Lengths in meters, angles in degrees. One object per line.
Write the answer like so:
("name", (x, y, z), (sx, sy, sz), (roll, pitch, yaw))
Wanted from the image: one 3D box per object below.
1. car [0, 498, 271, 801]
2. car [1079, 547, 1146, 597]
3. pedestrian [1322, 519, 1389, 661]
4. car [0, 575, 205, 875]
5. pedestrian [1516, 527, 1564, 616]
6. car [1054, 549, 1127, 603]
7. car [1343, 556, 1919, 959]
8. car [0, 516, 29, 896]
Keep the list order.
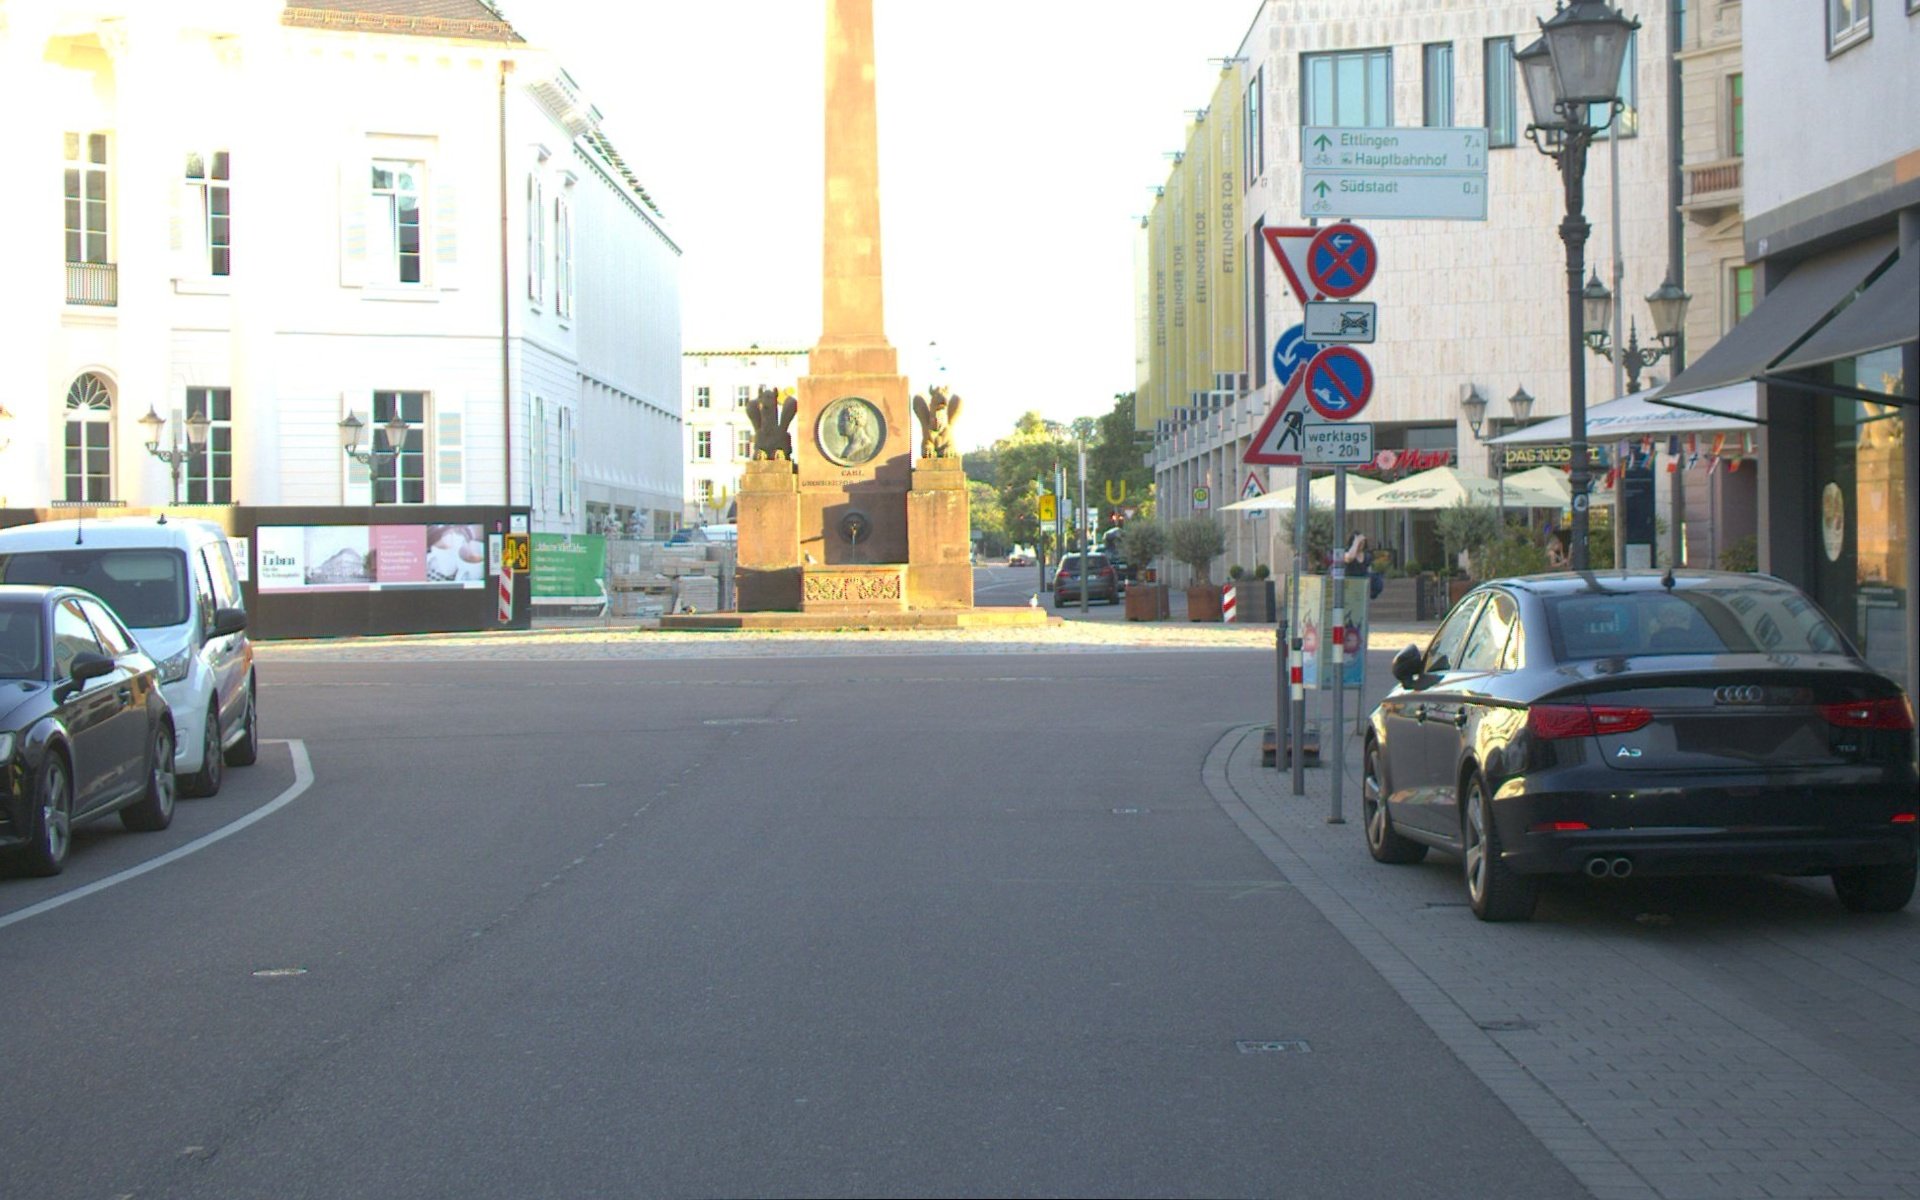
("car", (-5.819, 0.251, 22.957), (1.993, 1.809, 4.785), (0, 1, -7))
("car", (4.641, -0.873, 104.864), (1.993, 1.459, 4.000), (0, 1, 2))
("pedestrian", (4.650, -0.126, 40.413), (0.690, 1.642, 0.696), (-1, 1, 0))
("car", (-5.180, 0.569, 18.003), (1.677, 1.349, 4.106), (0, 1, -2))
("pedestrian", (11.321, -0.561, 67.113), (0.905, 1.722, 0.849), (-1, 1, 9))
("car", (3.641, -0.689, 96.409), (1.993, 1.459, 4.000), (0, 1, 2))
("car", (2.884, 0.559, 14.907), (1.801, 1.459, 4.118), (-1, 1, -2))
("car", (-5.139, 0.518, 13.469), (1.993, 1.656, 4.001), (-2, 1, -2))
